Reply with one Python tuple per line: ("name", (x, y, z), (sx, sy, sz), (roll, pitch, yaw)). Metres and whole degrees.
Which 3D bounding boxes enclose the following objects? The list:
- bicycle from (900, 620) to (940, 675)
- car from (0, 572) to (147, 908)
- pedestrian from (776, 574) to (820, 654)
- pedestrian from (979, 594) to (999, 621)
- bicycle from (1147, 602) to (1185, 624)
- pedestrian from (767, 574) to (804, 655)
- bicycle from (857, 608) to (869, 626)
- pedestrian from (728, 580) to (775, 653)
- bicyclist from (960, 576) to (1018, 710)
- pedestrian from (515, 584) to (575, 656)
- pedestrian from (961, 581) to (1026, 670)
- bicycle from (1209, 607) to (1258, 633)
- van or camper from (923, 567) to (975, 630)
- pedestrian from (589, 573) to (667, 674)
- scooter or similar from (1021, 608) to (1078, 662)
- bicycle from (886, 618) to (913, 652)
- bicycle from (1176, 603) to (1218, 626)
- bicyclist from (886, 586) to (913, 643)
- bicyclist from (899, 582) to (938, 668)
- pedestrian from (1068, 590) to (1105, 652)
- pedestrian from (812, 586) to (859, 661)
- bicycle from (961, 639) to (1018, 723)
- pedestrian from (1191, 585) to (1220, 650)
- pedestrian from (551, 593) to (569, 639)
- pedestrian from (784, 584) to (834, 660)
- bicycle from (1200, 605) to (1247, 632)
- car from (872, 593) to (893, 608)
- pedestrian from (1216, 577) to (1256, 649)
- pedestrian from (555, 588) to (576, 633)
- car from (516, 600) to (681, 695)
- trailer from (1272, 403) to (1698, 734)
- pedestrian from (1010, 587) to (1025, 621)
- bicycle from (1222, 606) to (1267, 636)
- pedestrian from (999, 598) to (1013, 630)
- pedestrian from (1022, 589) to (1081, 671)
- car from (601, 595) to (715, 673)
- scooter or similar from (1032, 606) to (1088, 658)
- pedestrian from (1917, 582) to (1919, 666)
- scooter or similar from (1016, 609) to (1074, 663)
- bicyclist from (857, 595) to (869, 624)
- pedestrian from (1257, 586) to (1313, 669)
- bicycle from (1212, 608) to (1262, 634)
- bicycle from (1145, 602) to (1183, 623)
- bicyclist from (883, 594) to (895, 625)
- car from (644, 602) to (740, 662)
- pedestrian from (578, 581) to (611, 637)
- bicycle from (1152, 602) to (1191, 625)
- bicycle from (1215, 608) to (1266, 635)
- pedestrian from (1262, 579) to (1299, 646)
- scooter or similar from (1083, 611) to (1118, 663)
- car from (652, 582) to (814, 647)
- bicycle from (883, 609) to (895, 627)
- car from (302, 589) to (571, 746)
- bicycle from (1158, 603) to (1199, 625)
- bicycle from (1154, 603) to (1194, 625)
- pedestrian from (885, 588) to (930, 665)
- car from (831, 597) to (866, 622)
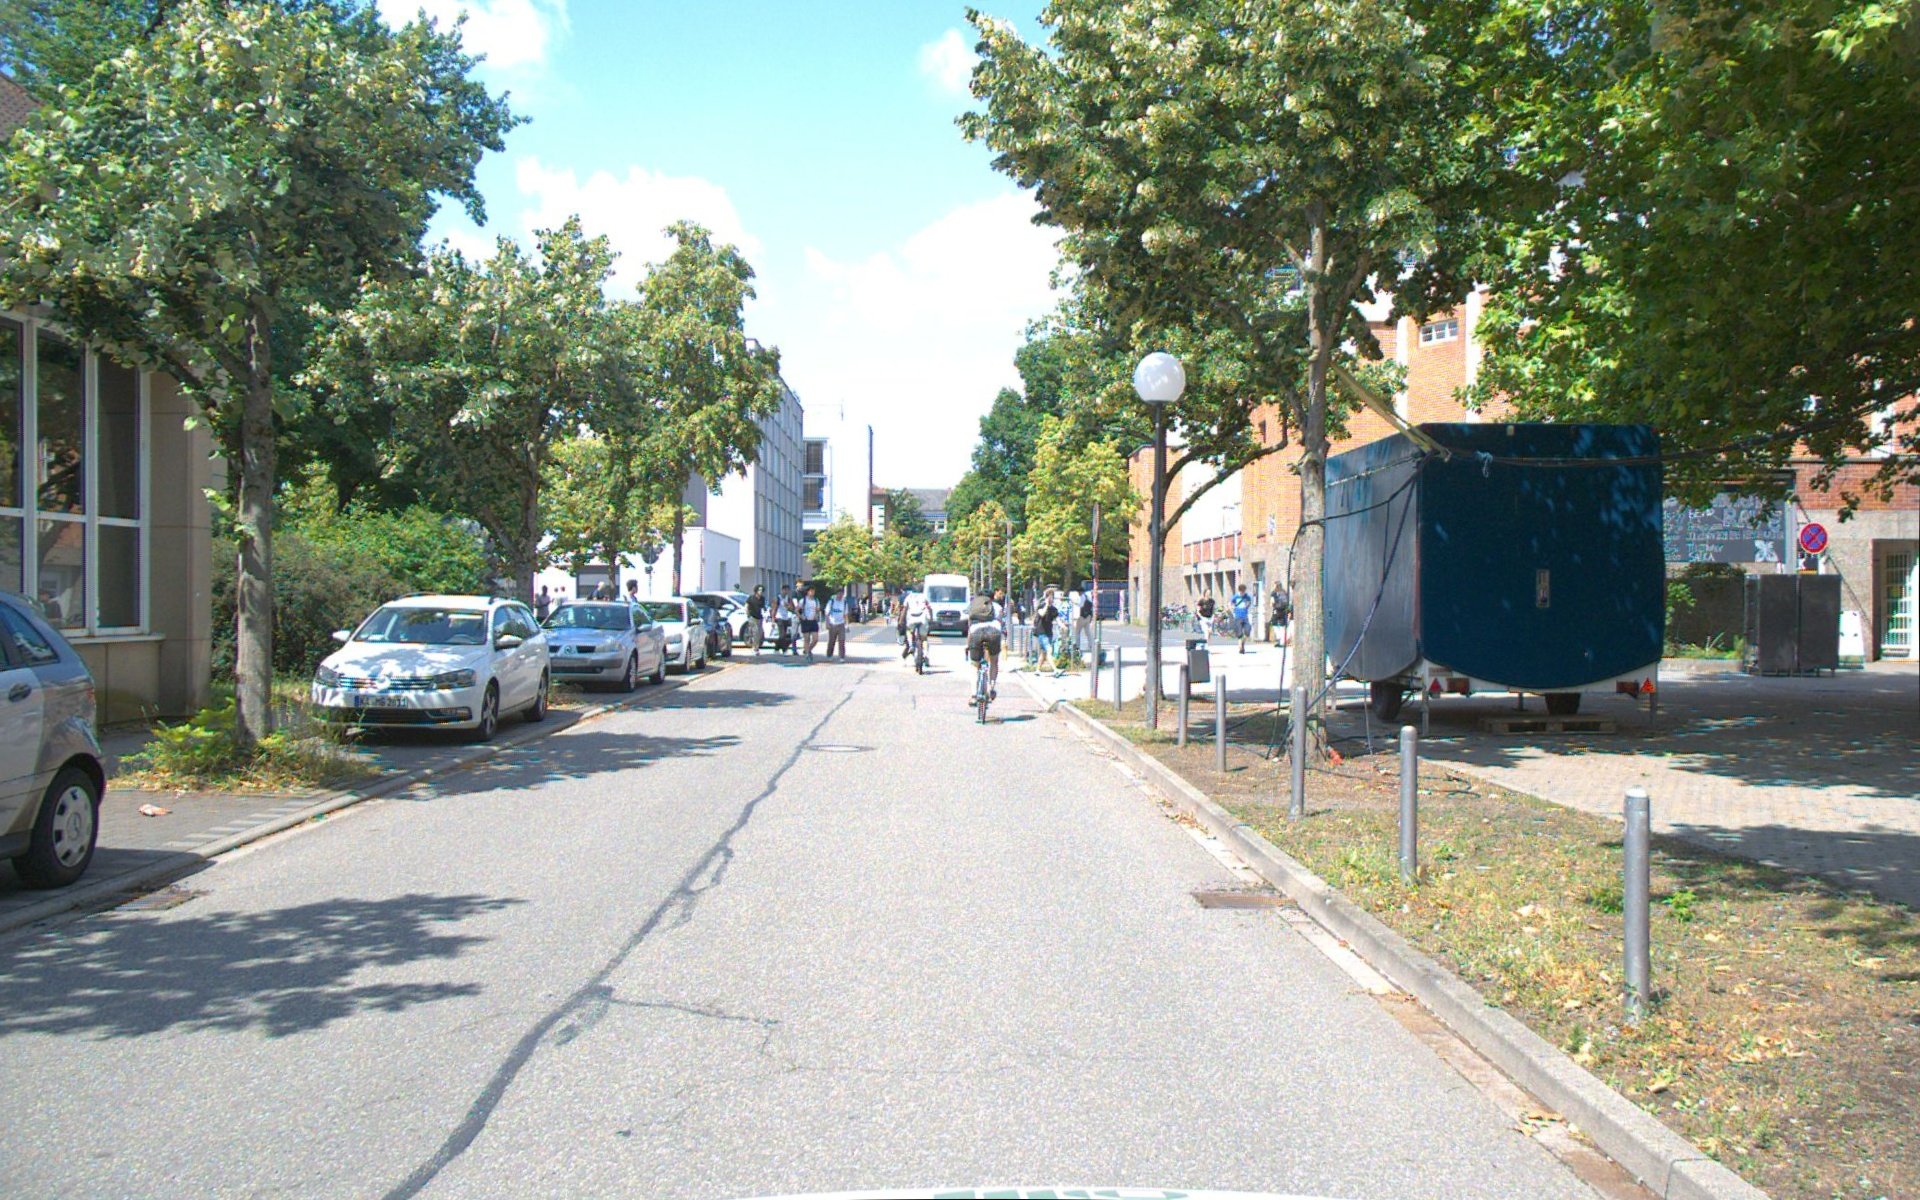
("bicycle", (-0.860, 0.986, 35.184), (0.792, 1.019, 2.123), (-2, 2, -2))
("car", (-5.336, 0.632, 7.152), (1.722, 1.583, 4.111), (2, 0, -3))
("pedestrian", (-4.170, 0.351, 42.531), (0.809, 2.015, 0.691), (2, 0, 23))
("pedestrian", (2.351, 0.608, 134.012), (1.470, 2.031, 1.645), (-3, 1, -3))
("bicycle", (10.002, 0.627, 80.391), (1.773, 1.002, 0.560), (-2, 0, -2))
("pedestrian", (-4.394, 0.379, 41.625), (0.610, 2.015, 0.819), (0, -2, -32))
("bicycle", (-5.422, 0.960, 92.736), (0.663, 0.981, 2.002), (0, 0, -3))
("pedestrian", (-5.296, 0.423, 41.976), (0.785, 1.803, 0.854), (2, 0, 22))
("bicyclist", (0.366, 0.555, 21.617), (0.702, 1.691, 1.095), (1, -1, 0))
("pedestrian", (-11.868, 0.586, 47.309), (1.155, 1.937, 1.014), (-2, -8, 36))
("pedestrian", (0.743, 0.548, 36.322), (1.094, 1.892, 0.851), (2, 1, 36))
("bicycle", (10.540, 0.769, 63.703), (1.773, 0.928, 0.560), (-2, 0, -2))
("van or camper", (-0.406, -0.034, 67.905), (1.952, 2.488, 4.570), (-1, -1, 2))
("pedestrian", (-6.060, 0.438, 30.191), (1.082, 1.746, 0.711), (3, -3, 13))
("scooter or similar", (2.188, 0.854, 40.498), (1.237, 1.287, 0.649), (0, 0, 31))
("bicycle", (-1.902, 1.098, 52.317), (0.792, 1.020, 2.123), (1, -1, 0))
("bicycle", (10.585, 0.641, 73.996), (1.773, 1.002, 0.560), (-2, 0, -2))
("bicyclist", (-1.904, 0.462, 52.094), (0.792, 1.787, 0.692), (1, -1, 0))
("bicyclist", (-0.881, 0.526, 35.070), (0.755, 1.787, 0.848), (-2, 0, -2))
("pedestrian", (3.634, 0.594, 47.473), (0.938, 1.724, 0.705), (2, 2, 9))
("pedestrian", (-2.963, 0.544, 39.459), (0.891, 1.769, 0.675), (0, 0, 37))
("bicycle", (0.376, 1.027, 21.517), (0.692, 1.010, 1.910), (1, -1, 0))
("pedestrian", (6.439, 0.442, 43.394), (0.494, 1.658, 0.568), (-4, 2, -19))
("pedestrian", (-15.863, 0.633, 65.573), (0.540, 1.795, 0.586), (1, -1, -1))
("pedestrian", (-3.566, 0.520, 39.002), (0.965, 1.770, 0.697), (-1, -1, 38))
("bicycle", (10.427, 0.720, 65.463), (1.773, 1.002, 0.560), (-2, 0, -2))
("car", (-8.008, 0.027, 171.234), (1.758, 1.557, 4.002), (0, 0, 3))
("pedestrian", (7.278, 0.333, 43.647), (0.697, 1.818, 0.749), (-4, 2, -19))
("pedestrian", (-15.768, 0.433, 66.139), (0.679, 1.780, 0.636), (1, -1, -1))
("car", (-5.784, 0.717, 26.929), (1.690, 1.367, 4.165), (2, 0, 0))
("trailer", (5.618, -0.305, 18.934), (2.637, 3.105, 6.254), (-1, 0, -2))
("pedestrian", (3.285, 0.241, 94.364), (0.774, 1.892, 1.026), (-1, 0, 0))
("bicycle", (10.219, 0.742, 59.500), (1.504, 1.051, 0.560), (-1, 0, -2))
("pedestrian", (2.697, 0.805, 96.583), (0.774, 1.892, 1.026), (0, 0, 0))
("pedestrian", (1.866, 0.610, 33.756), (0.844, 1.623, 0.817), (-2, 1, -44))
("car", (-5.960, 0.628, 32.975), (1.628, 1.436, 3.806), (1, 0, -1))
("scooter or similar", (2.491, 0.793, 41.318), (1.237, 1.287, 0.638), (0, 0, 31))
("pedestrian", (18.966, 0.454, 31.815), (0.646, 1.635, 0.678), (-1, 0, -16))
("scooter or similar", (2.033, 0.858, 39.721), (1.237, 1.287, 0.649), (0, 0, 31))
("bicyclist", (-5.434, 0.535, 92.691), (0.630, 1.629, 0.908), (-1, 0, -3))
("pedestrian", (6.831, 0.561, 34.794), (0.858, 1.666, 0.948), (-4, 0, -1))
("bicycle", (10.431, 0.790, 62.294), (1.773, 0.928, 0.560), (-1, 0, -2))
("bicycle", (10.054, 0.622, 81.356), (1.773, 1.002, 0.560), (-2, 0, -2))
("bicyclist", (-4.000, 0.523, 93.650), (0.654, 1.711, 0.992), (-1, 0, -2))
("car", (-6.297, 0.715, 39.195), (1.611, 1.323, 3.927), (0, 0, 0))
("pedestrian", (-11.978, 0.299, 54.228), (0.962, 1.817, 0.668), (0, -1, -3))
("bicycle", (9.979, 0.640, 78.054), (1.773, 1.002, 0.560), (-2, 0, -2))
("bicycle", (10.375, 0.799, 61.274), (1.773, 0.928, 0.560), (-1, 0, -2))
("pedestrian", (9.148, 0.344, 47.255), (0.774, 1.892, 1.116), (0, 0, -2))
("scooter or similar", (3.317, 0.858, 38.969), (0.635, 1.180, 1.265), (0, 0, 14))
("car", (-6.639, 0.414, 48.228), (4.425, 1.647, 1.919), (2, -1, 32))
("bicycle", (-4.010, 1.037, 93.664), (0.663, 0.982, 2.002), (-1, -1, -2))
("car", (-5.642, 0.668, 18.417), (1.691, 1.482, 4.580), (2, 0, -3))
("bicycle", (10.114, 0.646, 76.522), (1.773, 1.002, 0.560), (-2, 0, -2))
("bicycle", (10.011, 0.657, 77.348), (1.773, 1.002, 0.560), (-2, 0, -2))
("pedestrian", (-1.211, 0.600, 37.979), (0.692, 1.750, 0.987), (2, -1, -23))
("car", (-7.009, 0.584, 104.581), (1.758, 1.557, 4.002), (0, 0, 3))
